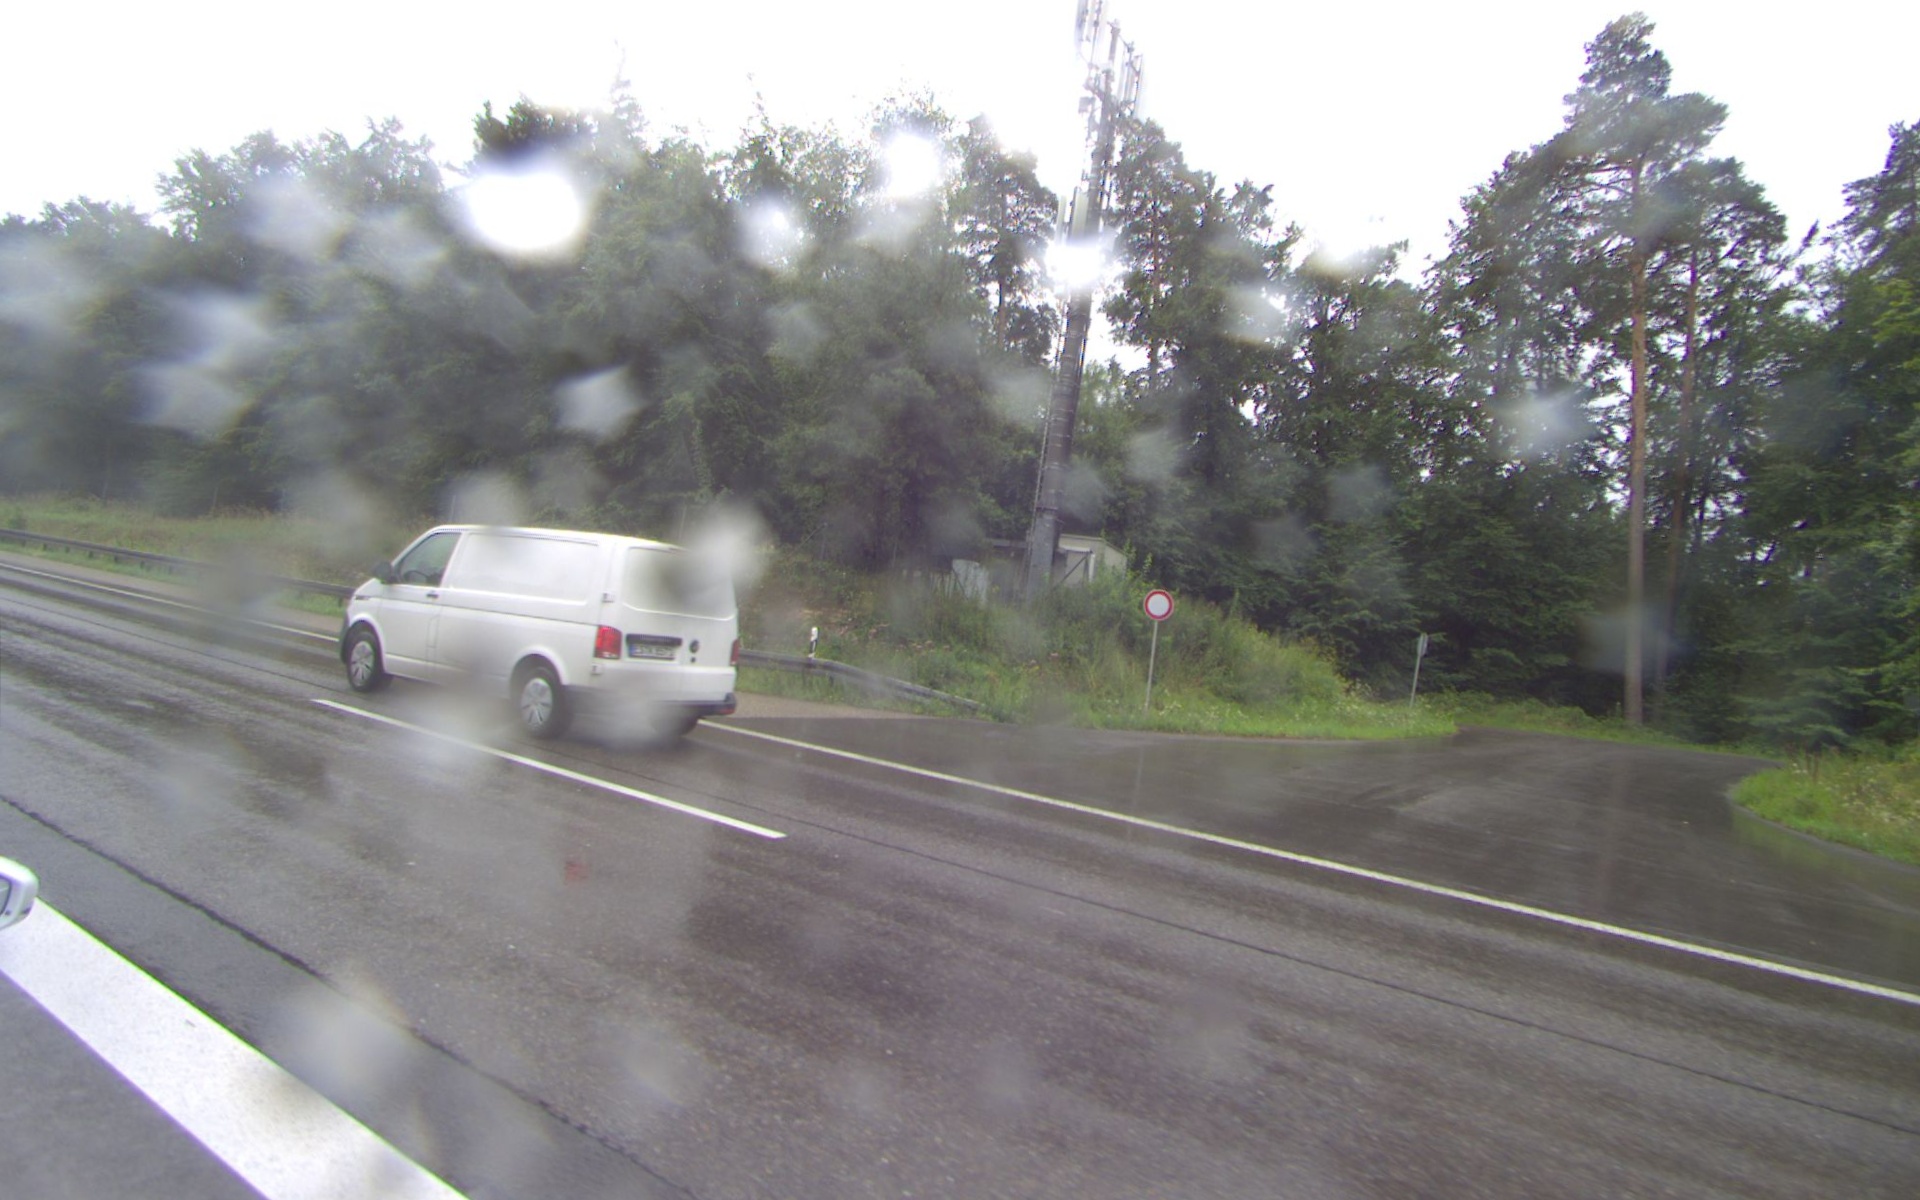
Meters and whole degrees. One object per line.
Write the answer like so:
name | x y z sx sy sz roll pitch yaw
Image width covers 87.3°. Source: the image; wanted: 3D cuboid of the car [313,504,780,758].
car | -4.479 0.249 10.717 4.686 1.943 1.994 7 -1 30
